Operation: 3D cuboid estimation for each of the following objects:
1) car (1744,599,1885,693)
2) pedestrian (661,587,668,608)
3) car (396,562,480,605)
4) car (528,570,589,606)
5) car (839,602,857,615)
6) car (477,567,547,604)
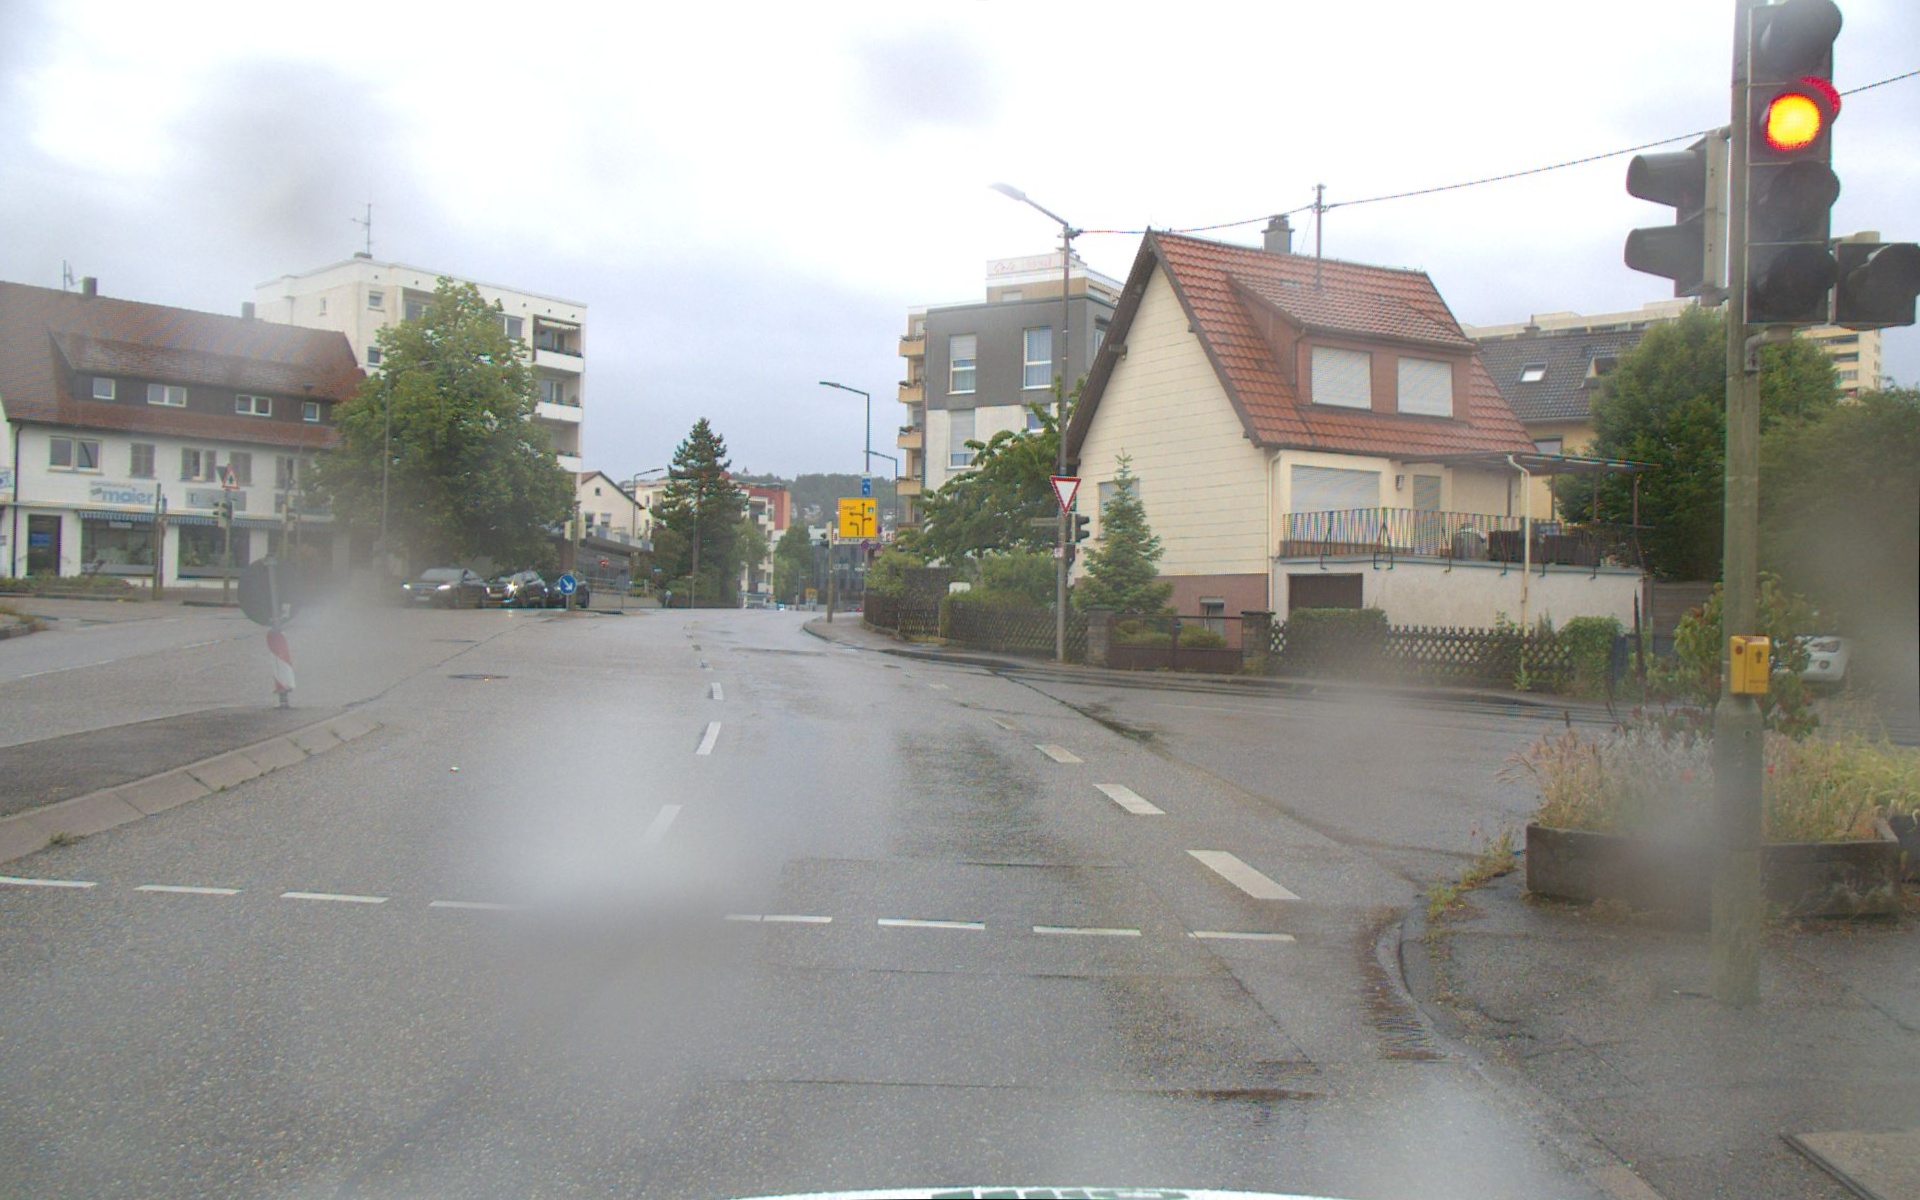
[{"bbox_3d":[15.647,0.790,30.197,1.710,1.541,3.985,2,1,36],"label":"car"},{"bbox_3d":[-24.204,-0.184,135.549,0.486,1.687,0.434,1,0,5],"label":"pedestrian"},{"bbox_3d":[-18.313,-0.584,58.186,1.742,1.445,3.830,1,1,-1],"label":"car"},{"bbox_3d":[-17.336,-0.526,71.513,1.742,1.445,3.830,1,1,-1],"label":"car"},{"bbox_3d":[-12.844,0.968,189.478,1.776,1.512,4.189,0,1,0],"label":"car"},{"bbox_3d":[-17.703,-0.587,65.531,1.680,1.411,4.020,1,1,-1],"label":"car"}]
